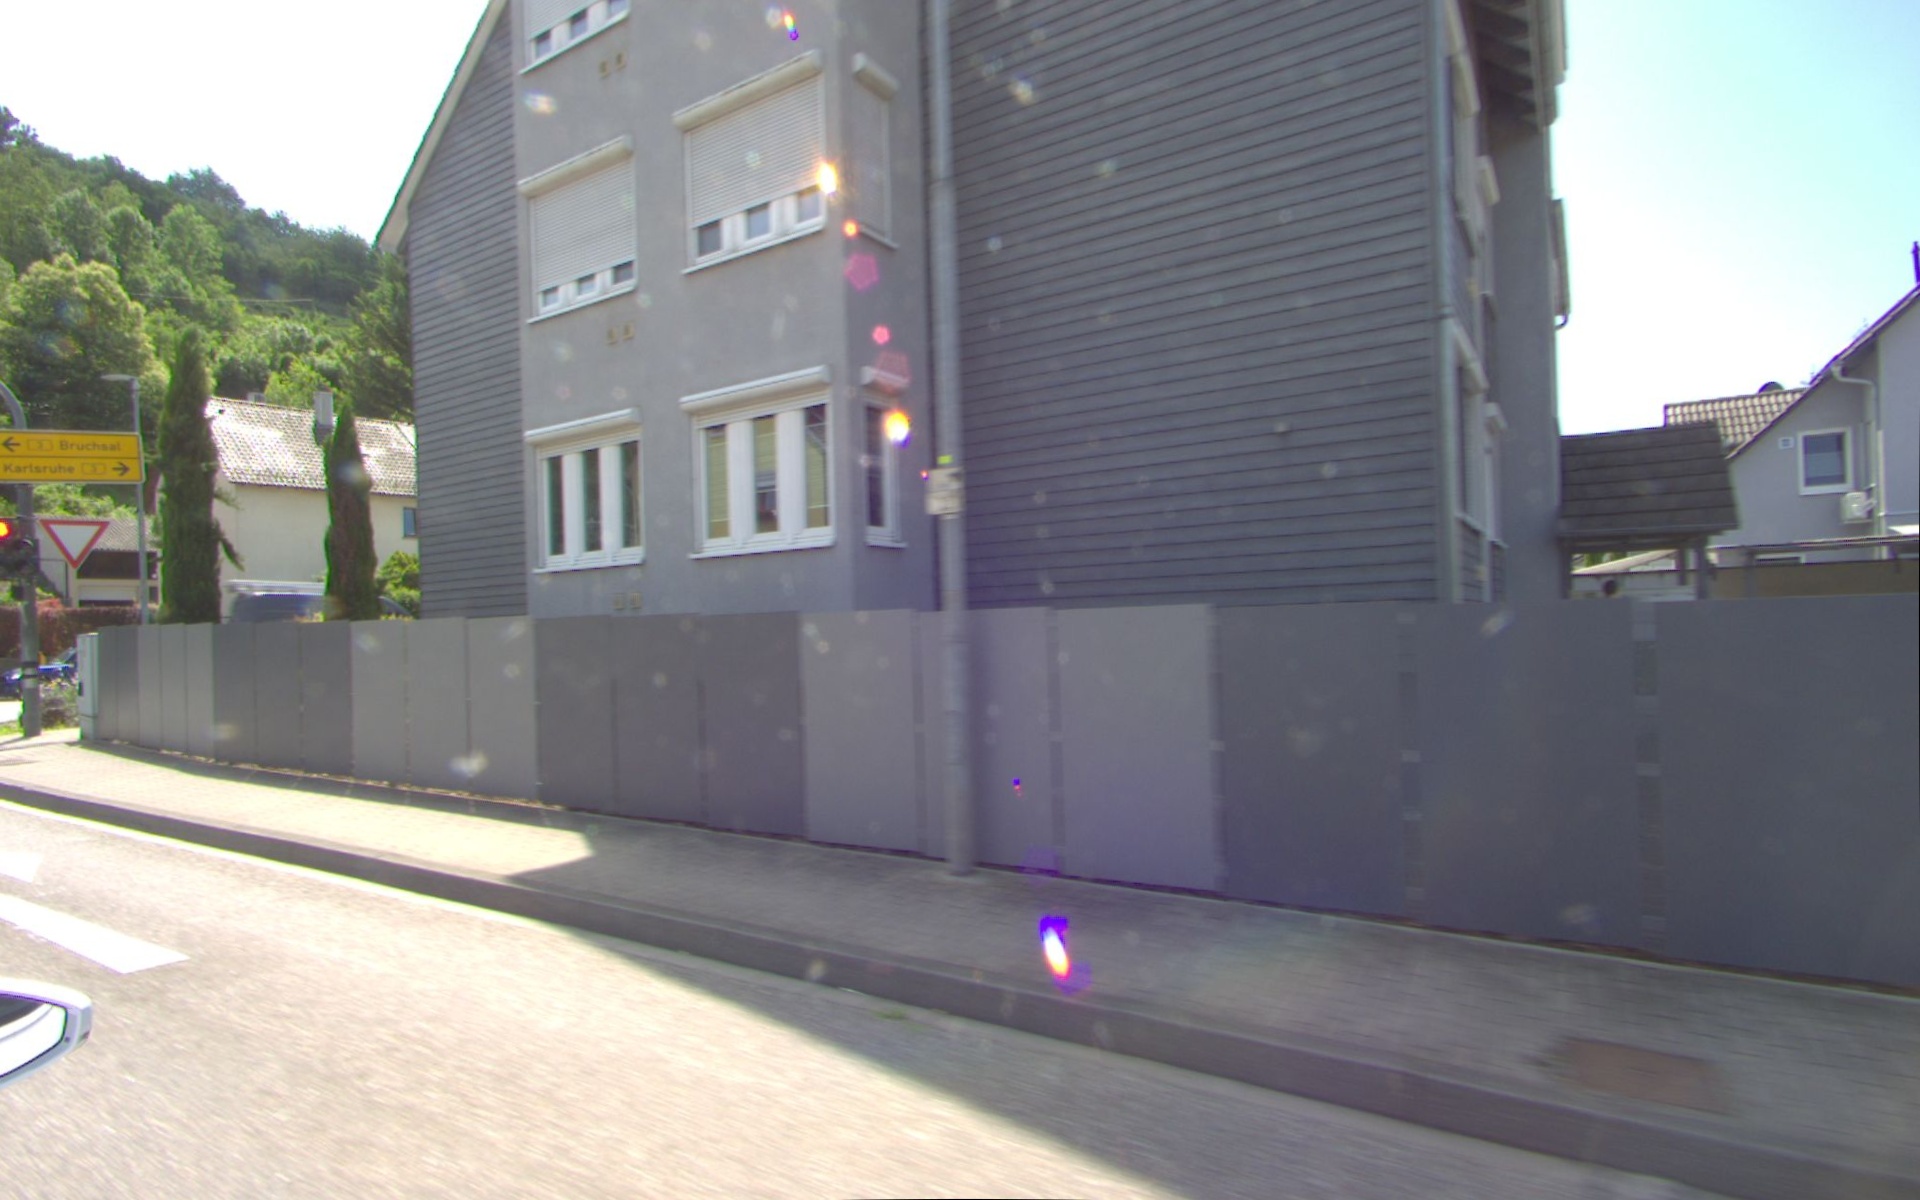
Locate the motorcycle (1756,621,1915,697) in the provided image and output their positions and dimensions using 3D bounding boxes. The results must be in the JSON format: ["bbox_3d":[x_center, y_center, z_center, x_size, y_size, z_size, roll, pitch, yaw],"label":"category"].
[{"bbox_3d":[14.662,0.965,16.839,1.925,1.179,0.646,0,0,33],"label":"motorcycle"}]

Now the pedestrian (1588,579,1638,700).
[{"bbox_3d":[8.564,0.515,13.147,0.528,1.549,0.481,-1,-1,33],"label":"pedestrian"}]

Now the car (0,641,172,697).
[{"bbox_3d":[-24.447,1.902,27.926,1.624,1.379,3.599,-5,-4,35],"label":"car"}]

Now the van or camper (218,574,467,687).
[{"bbox_3d":[-18.312,0.886,30.011,2.192,3.043,5.969,-2,-2,39],"label":"van or camper"}]
